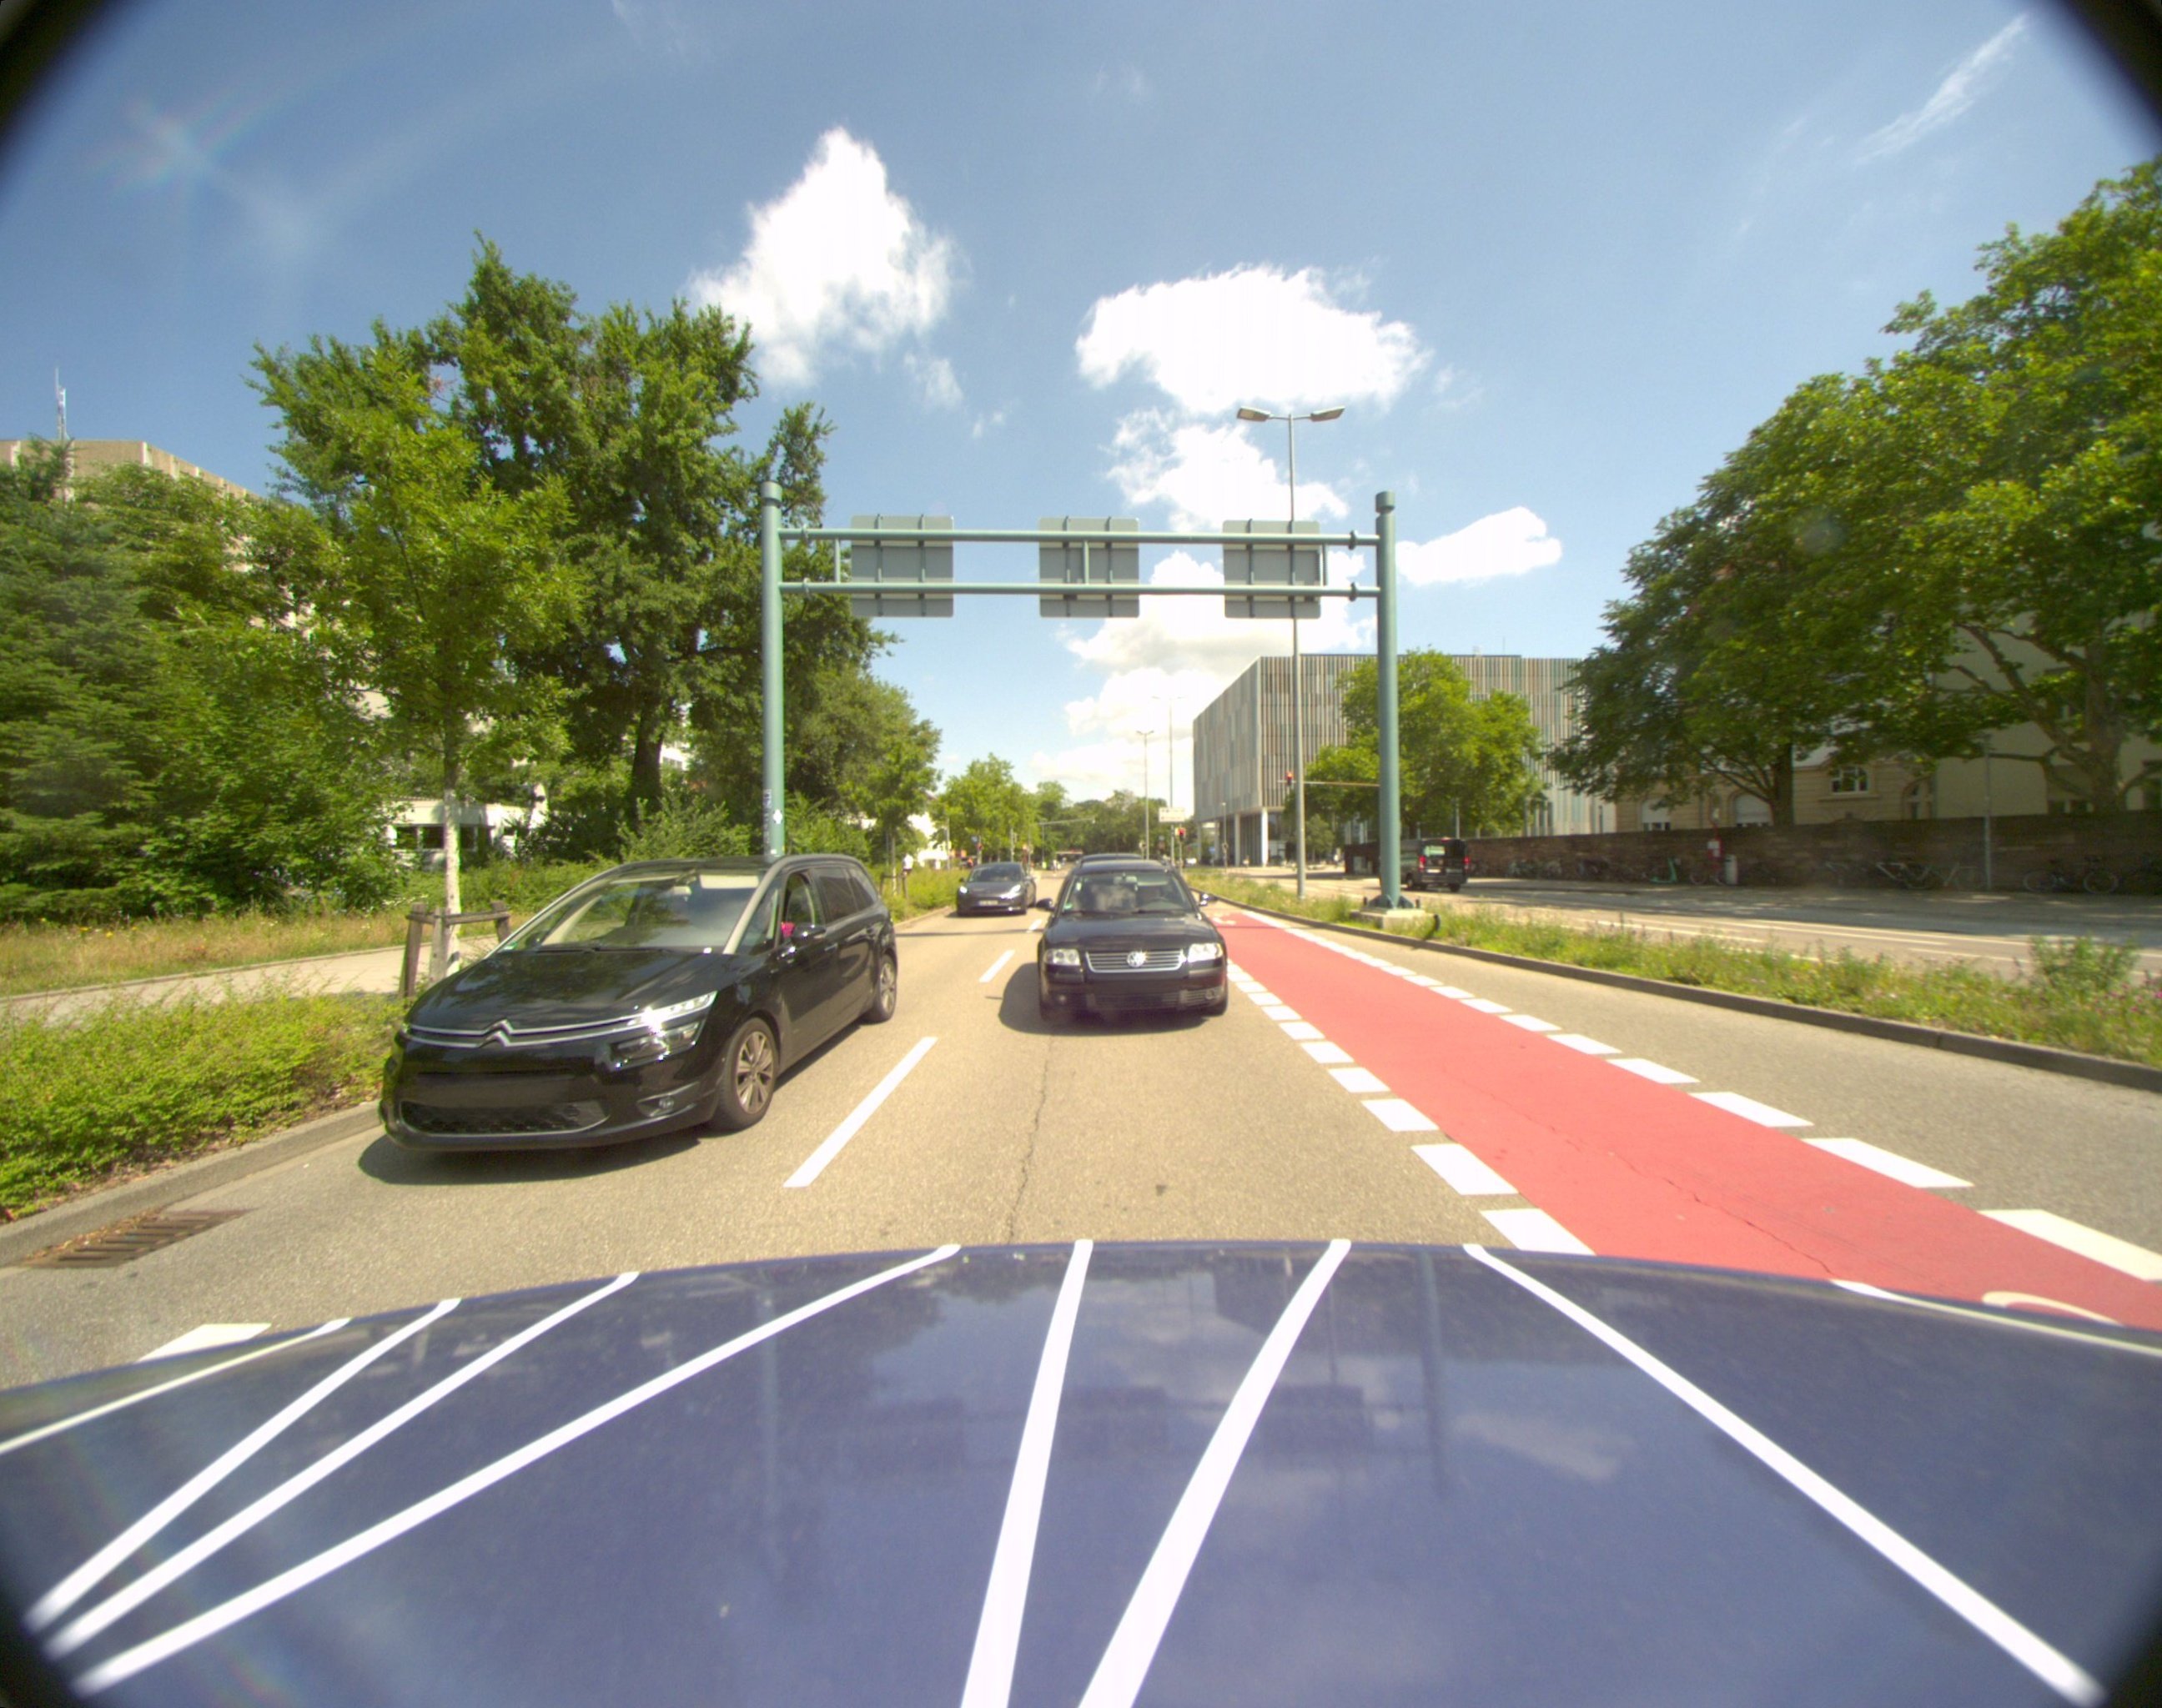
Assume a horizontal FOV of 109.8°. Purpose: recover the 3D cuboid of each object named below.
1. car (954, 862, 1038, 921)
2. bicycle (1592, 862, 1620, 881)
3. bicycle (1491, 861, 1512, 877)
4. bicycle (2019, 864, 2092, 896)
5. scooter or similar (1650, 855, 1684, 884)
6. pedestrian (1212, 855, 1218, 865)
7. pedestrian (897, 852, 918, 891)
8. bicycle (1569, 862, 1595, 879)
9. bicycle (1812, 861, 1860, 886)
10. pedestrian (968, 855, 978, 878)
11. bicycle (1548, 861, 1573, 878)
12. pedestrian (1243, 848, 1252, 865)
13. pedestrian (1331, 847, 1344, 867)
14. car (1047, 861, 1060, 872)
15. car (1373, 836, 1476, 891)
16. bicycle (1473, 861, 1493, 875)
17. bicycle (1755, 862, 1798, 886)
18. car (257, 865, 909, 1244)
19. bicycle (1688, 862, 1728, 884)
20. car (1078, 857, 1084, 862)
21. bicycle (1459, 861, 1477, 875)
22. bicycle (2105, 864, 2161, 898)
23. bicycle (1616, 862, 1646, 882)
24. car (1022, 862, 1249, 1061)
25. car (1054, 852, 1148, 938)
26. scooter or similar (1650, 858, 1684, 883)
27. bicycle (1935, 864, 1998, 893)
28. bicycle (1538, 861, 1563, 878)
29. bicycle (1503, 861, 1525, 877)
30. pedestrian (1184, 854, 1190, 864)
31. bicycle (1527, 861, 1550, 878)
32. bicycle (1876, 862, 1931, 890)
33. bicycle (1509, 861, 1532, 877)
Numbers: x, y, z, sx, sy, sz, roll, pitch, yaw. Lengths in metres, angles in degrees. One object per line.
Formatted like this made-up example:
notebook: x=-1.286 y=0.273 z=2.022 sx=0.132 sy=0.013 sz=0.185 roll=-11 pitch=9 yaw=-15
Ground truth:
car: x=-2.281 y=0.977 z=21.397 sx=1.806 sy=1.361 sz=4.157 roll=-1 pitch=1 yaw=1
bicycle: x=24.068 y=0.787 z=34.851 sx=0.265 sy=0.826 sz=1.235 roll=-1 pitch=0 yaw=-11
bicycle: x=23.144 y=0.823 z=41.809 sx=0.265 sy=0.826 sz=1.234 roll=-1 pitch=0 yaw=-11
bicycle: x=26.624 y=0.696 z=20.778 sx=0.265 sy=0.826 sz=1.234 roll=-1 pitch=0 yaw=-13
scooter or similar: x=23.890 y=0.626 z=30.984 sx=0.265 sy=1.182 sz=1.234 roll=-1 pitch=0 yaw=-11
pedestrian: x=19.766 y=0.859 z=112.016 sx=0.696 sy=1.445 sz=0.689 roll=-1 pitch=0 yaw=7
pedestrian: x=-9.136 y=0.927 z=40.119 sx=0.845 sy=2.026 sz=0.902 roll=-1 pitch=0 yaw=2
bicycle: x=23.868 y=0.784 z=36.207 sx=0.265 sy=0.826 sz=1.235 roll=-1 pitch=0 yaw=-11
bicycle: x=25.677 y=0.653 z=25.857 sx=0.265 sy=0.826 sz=1.235 roll=-1 pitch=0 yaw=-11
pedestrian: x=-8.224 y=0.952 z=57.672 sx=0.640 sy=1.754 sz=0.885 roll=-1 pitch=0 yaw=-15
bicycle: x=23.655 y=0.753 z=37.475 sx=0.265 sy=0.826 sz=1.235 roll=-1 pitch=0 yaw=-11
pedestrian: x=19.821 y=0.295 z=90.308 sx=0.864 sy=2.002 sz=0.995 roll=-1 pitch=0 yaw=-1
pedestrian: x=26.147 y=0.343 z=77.558 sx=0.994 sy=2.002 sz=0.864 roll=-1 pitch=0 yaw=1
car: x=-4.346 y=1.960 z=122.136 sx=1.816 sy=1.598 sz=4.479 roll=-3 pitch=0 yaw=1
car: x=14.758 y=0.406 z=32.991 sx=2.153 sy=2.162 sz=5.018 roll=1 pitch=0 yaw=0
bicycle: x=22.969 y=0.800 z=43.446 sx=0.265 sy=0.826 sz=1.234 roll=-1 pitch=0 yaw=-11
bicycle: x=25.182 y=0.711 z=27.526 sx=0.265 sy=0.826 sz=1.235 roll=-1 pitch=0 yaw=-11
car: x=-2.766 y=0.947 z=5.685 sx=1.816 sy=1.598 sz=4.479 roll=-3 pitch=0 yaw=1
bicycle: x=24.811 y=0.744 z=30.086 sx=0.265 sy=0.826 sz=1.233 roll=-1 pitch=0 yaw=-21
car: x=-0.098 y=1.616 z=245.130 sx=1.758 sy=1.581 sz=4.275 roll=-1 pitch=0 yaw=-4
bicycle: x=22.798 y=0.826 z=44.760 sx=0.265 sy=0.826 sz=1.235 roll=-1 pitch=0 yaw=-11
bicycle: x=27.122 y=0.679 z=19.353 sx=0.265 sy=0.826 sz=1.234 roll=-1 pitch=0 yaw=-13
bicycle: x=24.140 y=0.775 z=33.377 sx=0.265 sy=0.826 sz=1.235 roll=-1 pitch=0 yaw=-11
car: x=0.457 y=0.868 z=8.275 sx=1.723 sy=1.472 sz=4.594 roll=-3 pitch=0 yaw=1
car: x=0.407 y=0.782 z=16.664 sx=1.723 sy=1.545 sz=4.594 roll=-3 pitch=0 yaw=1
scooter or similar: x=24.567 y=0.681 z=31.857 sx=0.266 sy=1.014 sz=1.140 roll=-1 pitch=0 yaw=-22
bicycle: x=26.236 y=0.725 z=22.535 sx=0.265 sy=0.826 sz=1.235 roll=-1 pitch=0 yaw=-11
bicycle: x=23.177 y=0.754 z=37.532 sx=0.265 sy=0.826 sz=1.234 roll=-1 pitch=0 yaw=-11
bicycle: x=22.844 y=0.801 z=40.090 sx=0.265 sy=0.826 sz=1.234 roll=-1 pitch=0 yaw=-11
pedestrian: x=16.851 y=0.812 z=120.778 sx=0.793 sy=1.681 sz=0.706 roll=-1 pitch=0 yaw=1
bicycle: x=23.460 y=0.792 z=39.004 sx=0.265 sy=0.826 sz=1.235 roll=-1 pitch=0 yaw=-11
bicycle: x=26.007 y=0.684 z=24.052 sx=0.265 sy=0.826 sz=1.235 roll=-1 pitch=0 yaw=-11
bicycle: x=23.368 y=0.795 z=40.418 sx=0.265 sy=0.826 sz=1.234 roll=-1 pitch=0 yaw=-11
